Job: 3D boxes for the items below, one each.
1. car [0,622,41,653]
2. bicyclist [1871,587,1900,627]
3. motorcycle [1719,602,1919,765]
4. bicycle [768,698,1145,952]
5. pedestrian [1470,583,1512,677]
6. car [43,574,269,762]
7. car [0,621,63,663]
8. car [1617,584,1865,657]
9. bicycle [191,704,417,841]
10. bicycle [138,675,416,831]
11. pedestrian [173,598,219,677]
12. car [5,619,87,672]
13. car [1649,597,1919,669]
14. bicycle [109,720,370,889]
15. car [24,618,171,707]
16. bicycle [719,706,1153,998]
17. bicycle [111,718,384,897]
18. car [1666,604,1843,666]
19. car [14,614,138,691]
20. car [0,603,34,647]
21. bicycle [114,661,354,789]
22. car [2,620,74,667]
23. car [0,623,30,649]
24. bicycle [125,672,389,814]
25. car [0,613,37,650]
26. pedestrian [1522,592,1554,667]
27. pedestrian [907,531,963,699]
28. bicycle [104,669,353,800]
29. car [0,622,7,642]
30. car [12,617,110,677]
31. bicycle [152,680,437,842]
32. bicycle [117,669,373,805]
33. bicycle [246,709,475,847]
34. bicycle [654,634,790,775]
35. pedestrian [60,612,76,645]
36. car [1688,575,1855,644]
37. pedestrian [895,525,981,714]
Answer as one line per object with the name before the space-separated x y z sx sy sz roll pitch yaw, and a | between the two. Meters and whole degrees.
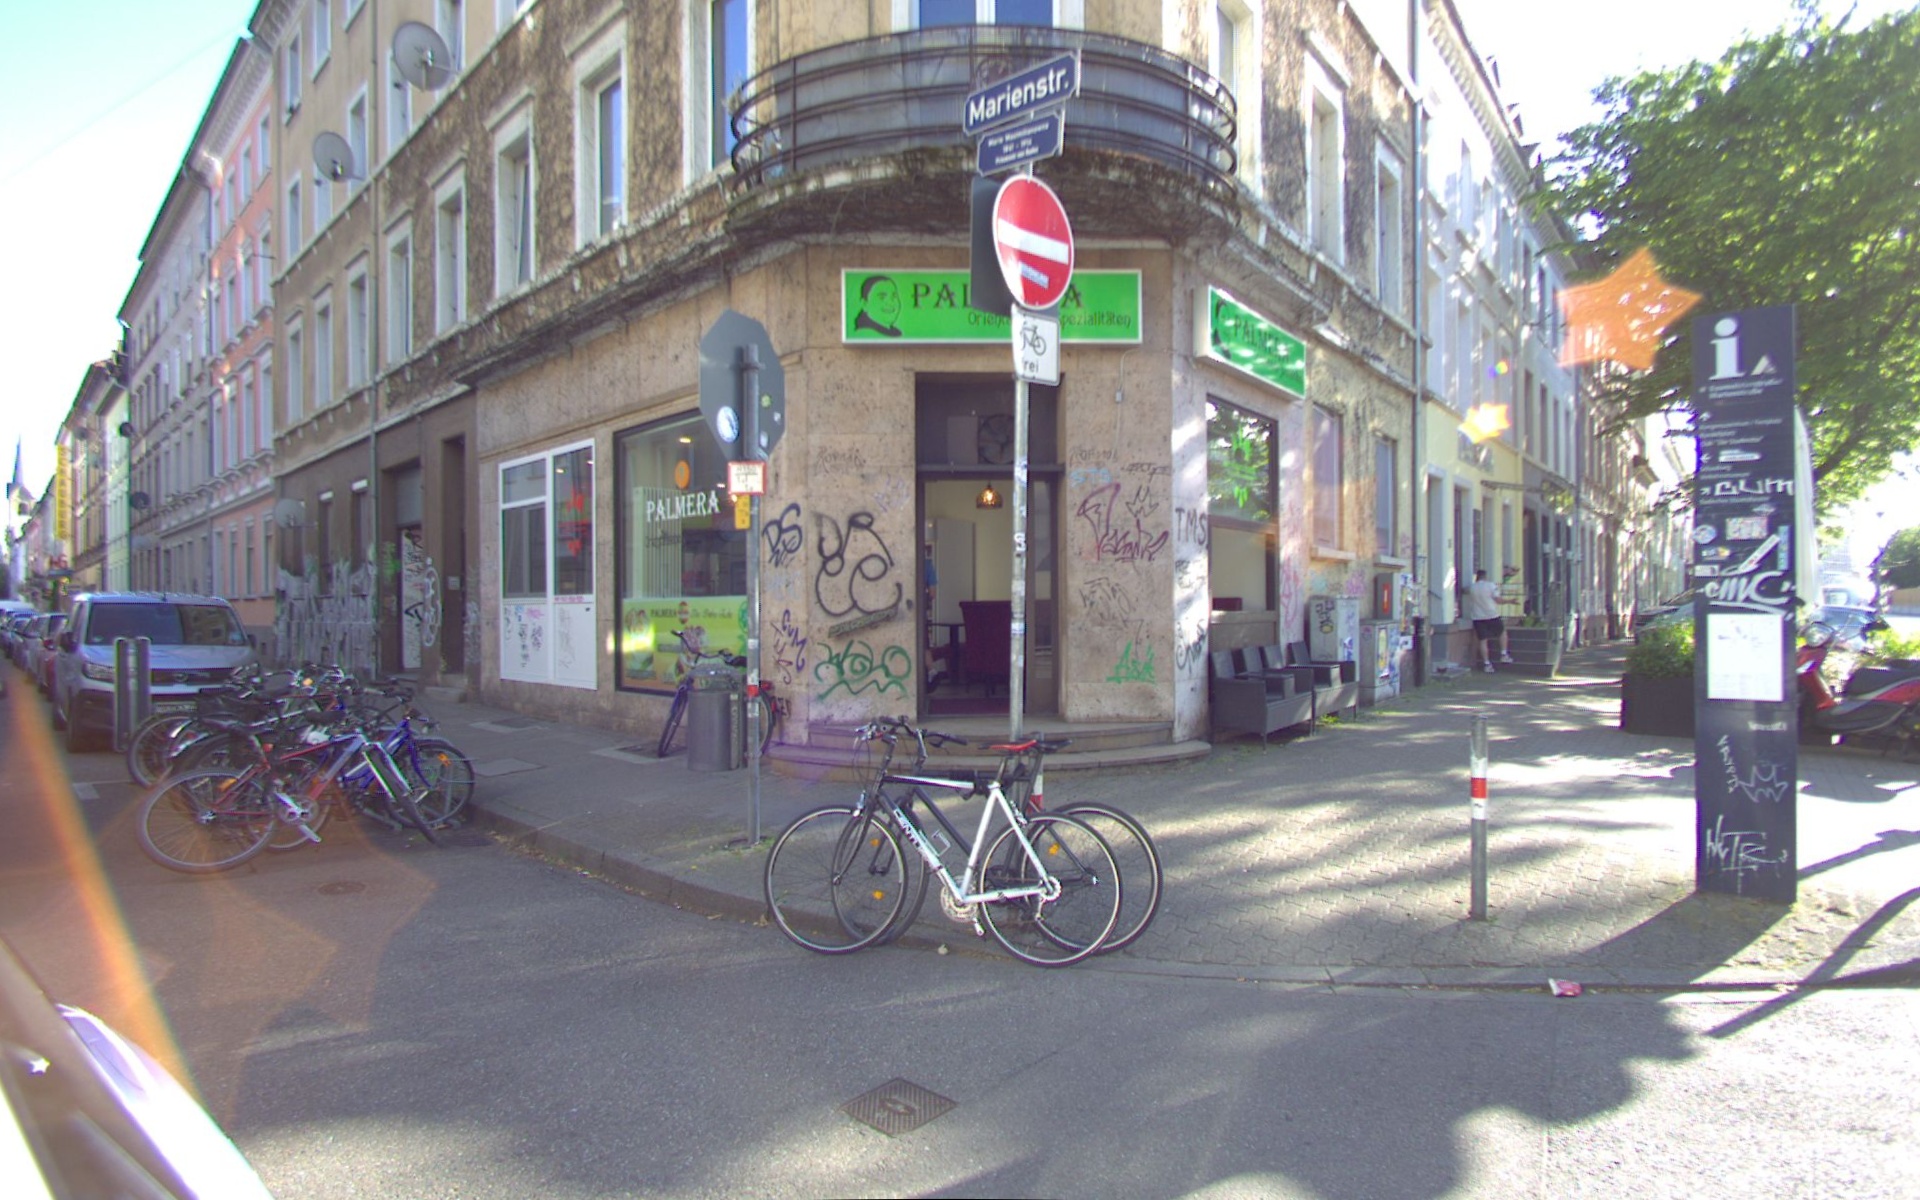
car | -45.716 1.794 49.028 1.660 1.426 3.862 0 -1 -44
bicyclist | 37.181 0.284 40.646 0.725 1.584 1.016 -2 -1 37
motorcycle | 8.461 0.737 9.099 2.393 1.361 0.998 1 -1 9
bicycle | -0.013 1.008 4.665 1.643 1.054 0.450 -1 -1 5
pedestrian | 9.578 0.541 18.252 0.538 1.655 0.563 -2 -2 36
car | -10.127 0.776 12.608 1.659 1.924 4.522 4 -4 -44
car | -34.829 1.546 37.924 1.660 1.474 3.862 0 -1 -44
car | 22.628 0.607 29.603 5.298 2.006 2.029 -1 -1 15
bicycle | -4.677 1.198 7.285 0.381 0.824 1.297 -1 -3 35
bicycle | -5.226 1.121 7.867 0.480 0.969 1.750 -1 -1 33
pedestrian | -18.298 0.892 24.248 0.779 1.844 0.595 -2 0 -45
car | -27.598 1.329 30.516 1.660 1.474 4.316 0 -1 -44
car | 18.498 0.730 22.769 4.602 1.502 1.680 -1 -1 16
bicycle | -4.480 1.234 6.372 0.354 0.824 1.297 -1 -1 35
car | -16.147 1.101 18.873 4.204 1.485 1.660 -1 -3 44
bicycle | -0.097 1.022 4.201 1.666 1.054 0.457 -3 -1 5
bicycle | -4.225 1.189 6.082 0.371 0.824 1.297 -1 -1 35
car | 21.302 0.919 27.263 3.292 1.514 1.682 -1 2 13
car | -19.357 1.108 22.125 2.959 1.561 1.661 -1 -2 42
car | -58.294 1.520 61.994 5.845 2.611 2.065 -1 -1 45
bicycle | -6.638 1.104 9.329 0.463 0.996 1.745 -2 -1 44
car | -31.031 1.428 34.140 1.658 1.474 3.866 0 -1 -40
car | -54.142 2.021 57.575 1.660 1.400 3.862 0 -1 -44
bicycle | -5.747 1.124 8.366 0.443 0.969 1.745 -2 -1 44
car | -50.349 1.662 53.911 1.726 1.906 4.776 0 -1 -42
pedestrian | 13.111 0.666 22.958 0.538 1.655 0.563 -2 -2 36
pedestrian | -0.265 0.155 10.711 0.429 1.729 0.404 -1 0 28
bicycle | -6.398 1.135 8.936 0.405 0.969 1.745 -2 -1 44
car | -68.769 2.298 71.773 1.660 1.400 3.862 0 -1 -44
car | -24.164 1.220 27.178 3.612 1.504 1.661 -2 -1 43
bicycle | -4.913 1.141 7.590 0.427 0.969 1.748 -1 -1 37
bicycle | -6.068 1.125 8.679 0.422 0.969 1.745 -2 -1 44
bicycle | -4.273 1.238 7.302 0.361 0.824 1.374 -1 -3 35
bicycle | -2.120 0.870 8.906 0.393 1.100 1.592 1 -1 -45
pedestrian | -51.002 1.643 57.858 0.617 1.844 0.595 -2 0 -44
car | 33.386 0.350 41.887 5.187 2.597 2.219 2 1 36
pedestrian | -0.201 0.192 9.843 0.747 1.754 0.748 -1 -1 4
